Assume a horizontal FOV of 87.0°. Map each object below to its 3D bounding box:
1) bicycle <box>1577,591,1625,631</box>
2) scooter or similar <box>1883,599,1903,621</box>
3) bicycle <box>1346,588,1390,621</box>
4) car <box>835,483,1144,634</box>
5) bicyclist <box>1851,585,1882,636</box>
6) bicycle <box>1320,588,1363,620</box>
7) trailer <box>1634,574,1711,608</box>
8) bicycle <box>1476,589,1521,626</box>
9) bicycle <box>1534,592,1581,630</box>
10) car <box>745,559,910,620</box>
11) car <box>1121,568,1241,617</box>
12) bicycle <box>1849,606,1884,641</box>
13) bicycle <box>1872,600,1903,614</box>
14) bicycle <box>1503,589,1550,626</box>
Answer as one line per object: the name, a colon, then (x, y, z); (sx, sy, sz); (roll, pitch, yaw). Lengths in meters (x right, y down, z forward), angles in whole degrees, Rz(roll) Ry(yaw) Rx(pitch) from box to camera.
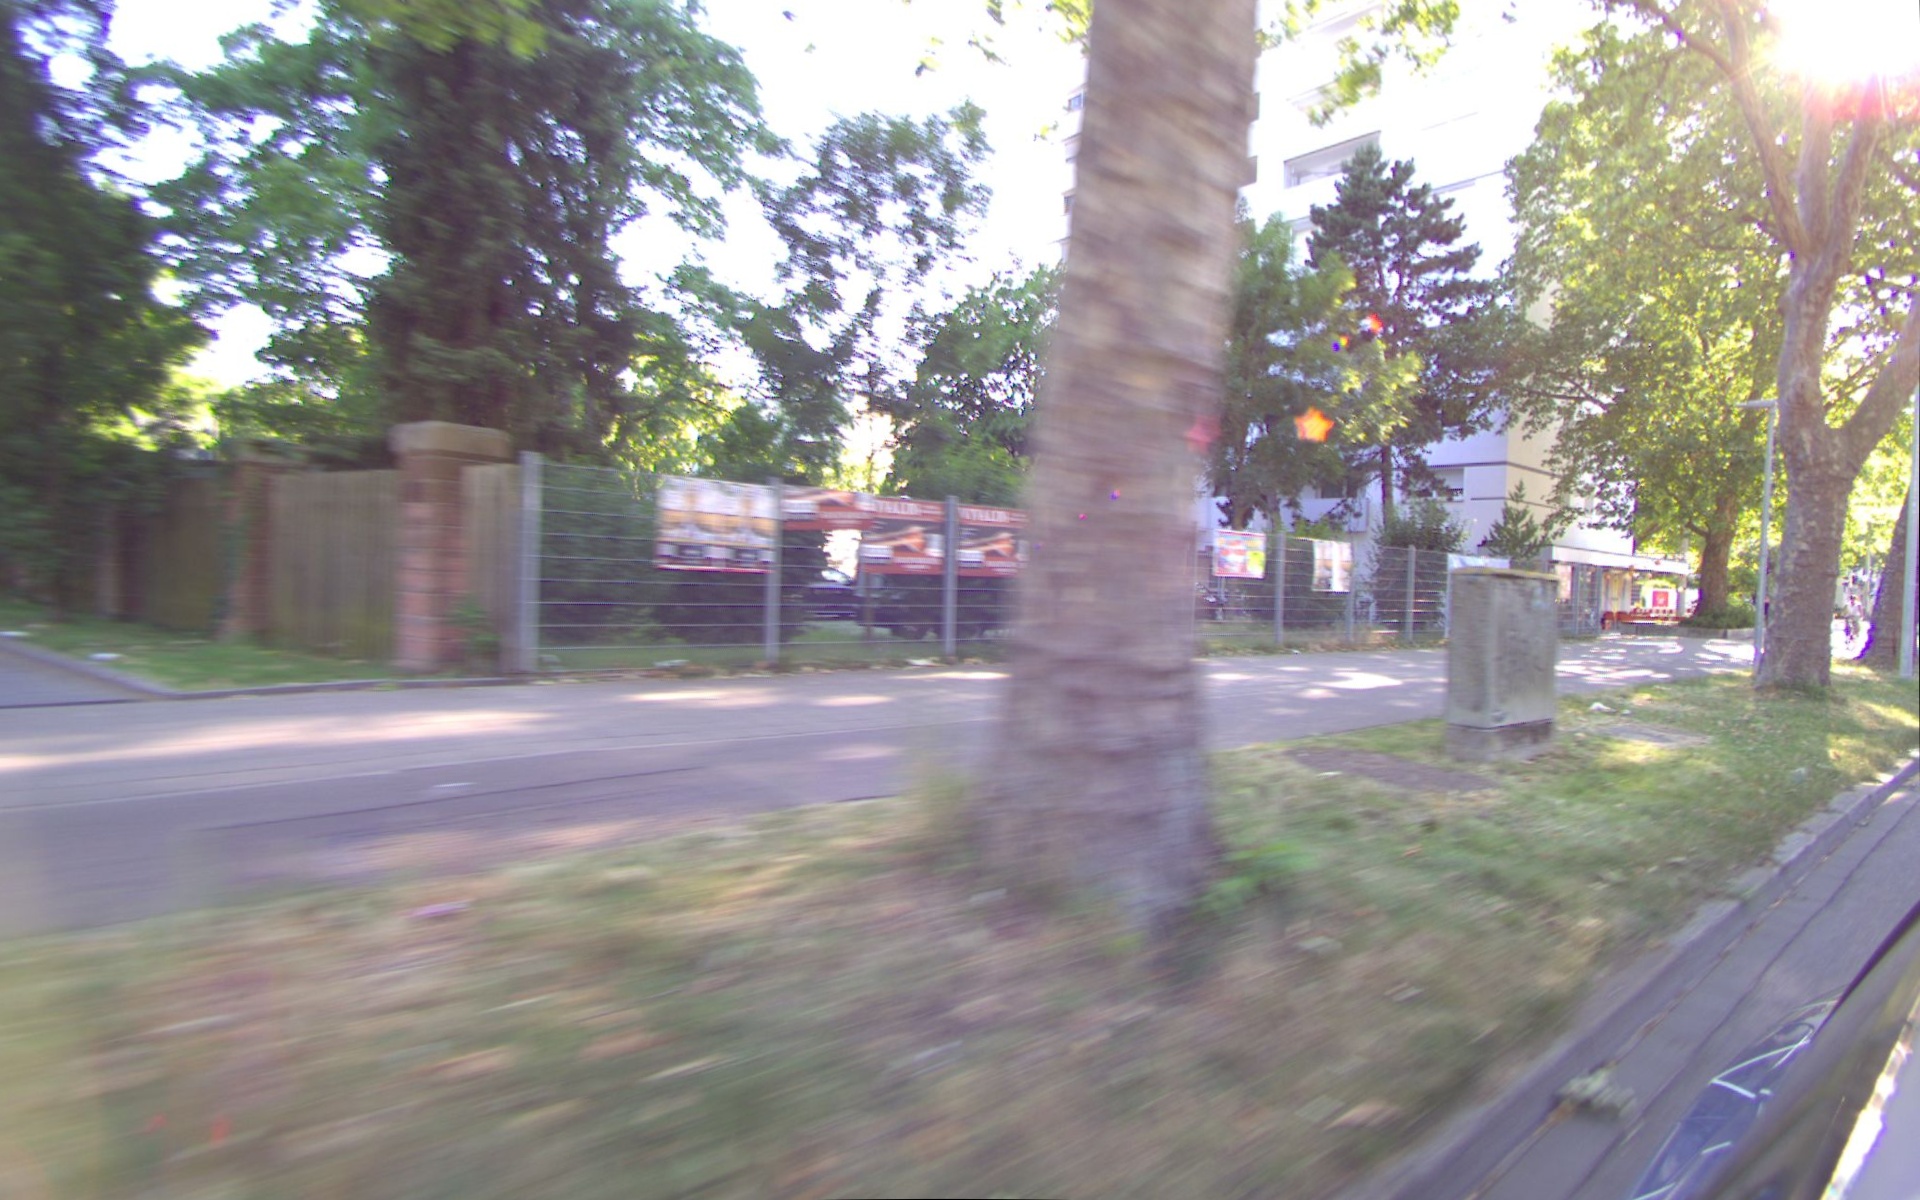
bicycle: (19.971, 0.335, 31.518); (1.789, 1.192, 0.790); (0, 0, -41)
scooter or similar: (56.332, 0.586, 61.101); (1.265, 1.272, 0.563); (0, 3, -33)
bicycle: (15.125, 0.146, 37.507); (1.789, 1.192, 0.790); (0, 0, -41)
car: (0.749, -0.701, 19.652); (6.232, 2.531, 1.998); (0, 0, -39)
bicyclist: (28.687, 0.330, 32.020); (0.845, 1.570, 0.604); (0, 2, -42)
bicycle: (14.420, 0.141, 38.263); (1.789, 1.192, 0.790); (0, 0, -41)
trailer: (54.413, -0.712, 77.379); (4.474, 2.403, 1.895); (2, 1, 28)
bicycle: (18.114, 0.243, 34.031); (1.789, 1.192, 0.790); (0, 0, -41)
bicycle: (19.262, 0.328, 32.593); (1.789, 1.192, 0.790); (0, 0, -41)
car: (-3.418, -0.268, 26.536); (3.935, 1.471, 1.994); (0, 0, -45)
car: (7.138, -0.245, 32.497); (3.935, 1.471, 1.994); (0, 0, -45)
bicycle: (28.718, 0.720, 32.052); (1.736, 1.039, 0.604); (0, 2, -42)
bicycle: (76.479, 0.560, 83.448); (1.804, 1.067, 0.531); (1, 0, 23)
bicycle: (18.675, 0.248, 33.345); (1.789, 1.192, 0.790); (0, 0, -41)
